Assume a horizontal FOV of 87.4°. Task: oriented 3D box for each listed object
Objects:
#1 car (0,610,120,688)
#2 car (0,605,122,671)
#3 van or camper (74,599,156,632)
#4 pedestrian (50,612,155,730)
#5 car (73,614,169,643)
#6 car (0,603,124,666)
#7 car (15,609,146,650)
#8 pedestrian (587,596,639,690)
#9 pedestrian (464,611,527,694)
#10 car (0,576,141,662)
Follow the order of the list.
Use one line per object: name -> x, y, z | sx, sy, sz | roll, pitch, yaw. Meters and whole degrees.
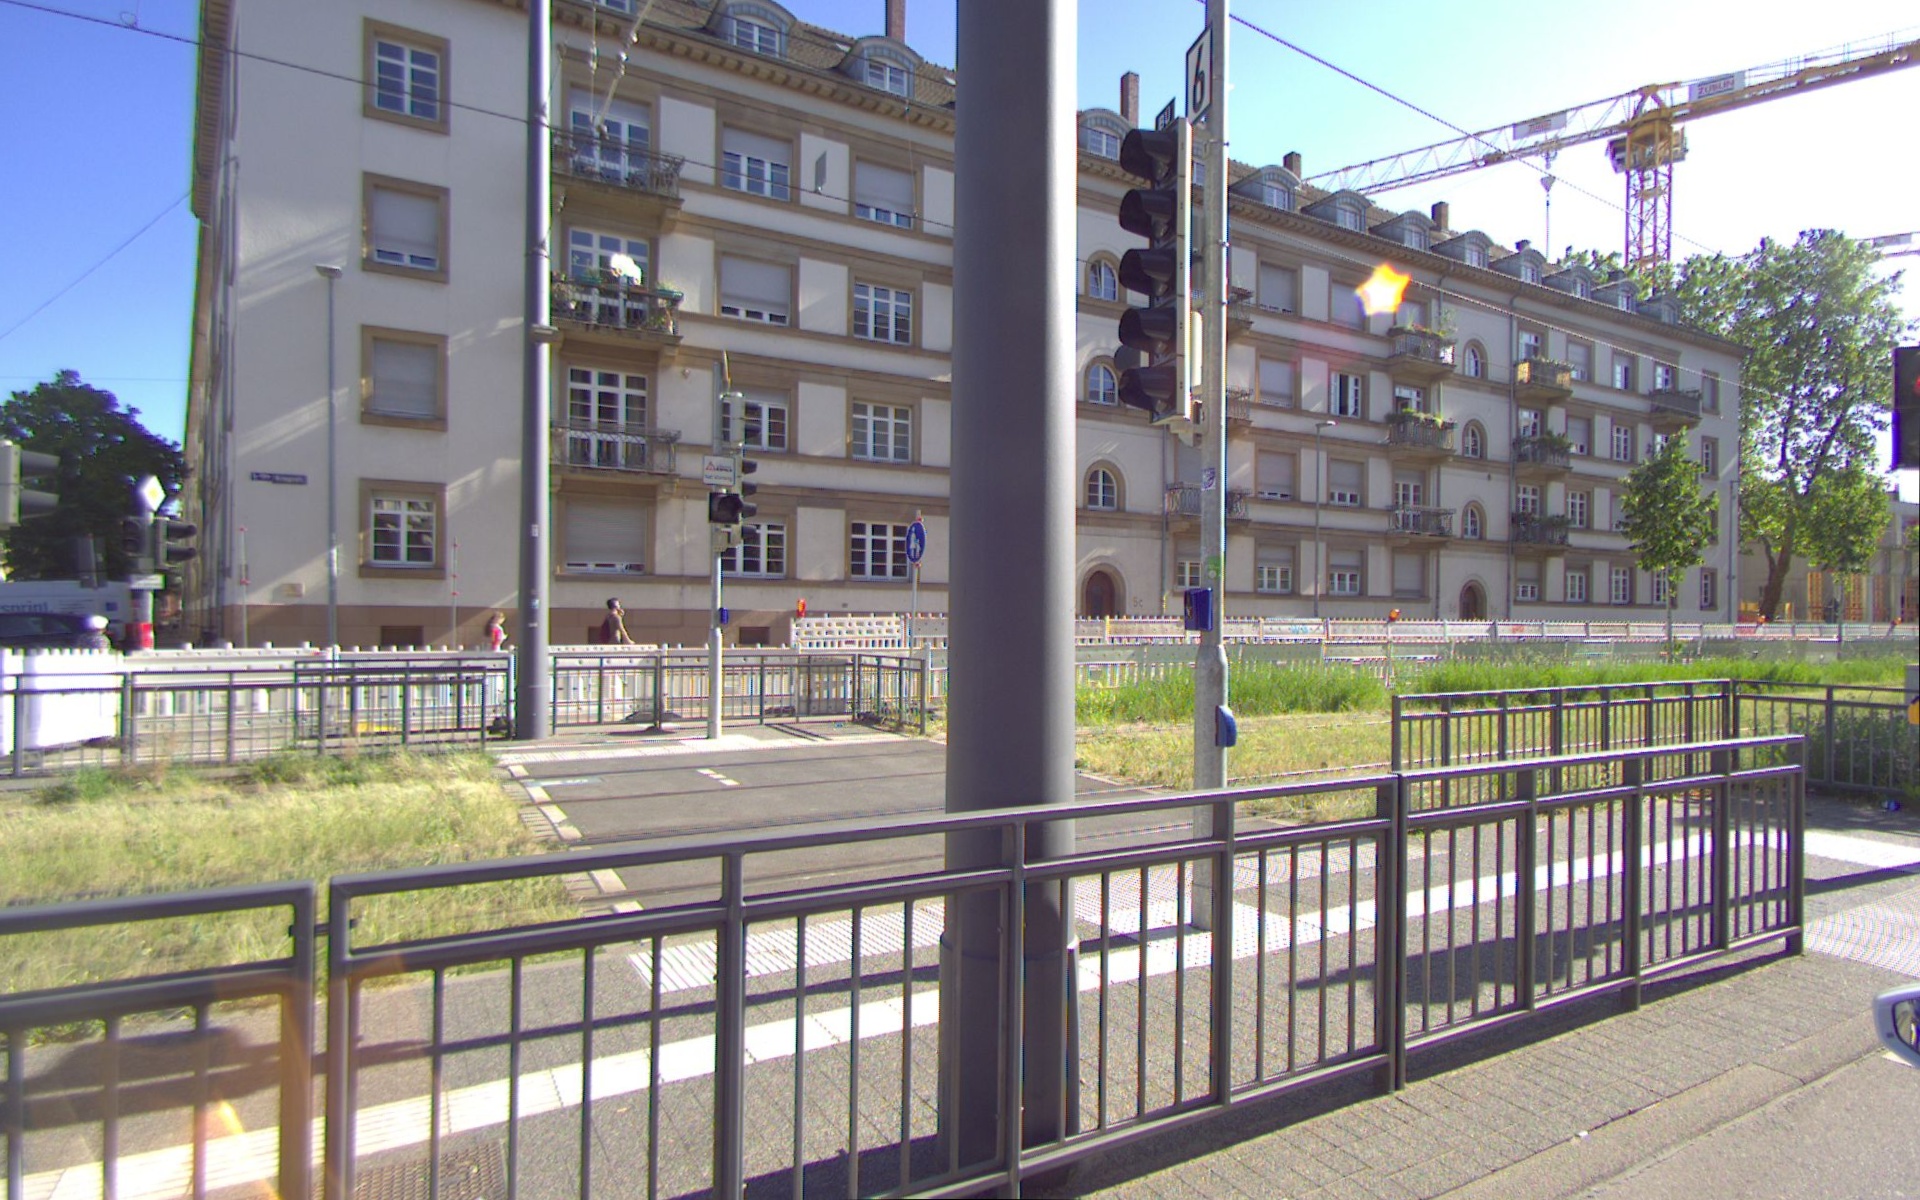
car -> -21.586, 1.070, 22.555 | 3.959, 1.662, 1.851 | 2, 0, -34
car -> -24.920, 0.988, 26.692 | 3.965, 1.662, 1.849 | 2, 0, -38
van or camper -> -59.234, 1.100, 70.483 | 4.311, 2.244, 1.930 | 2, 0, -40
pedestrian -> -11.471, 0.933, 13.466 | 0.697, 1.524, 0.806 | 0, -1, -3
car -> -46.022, 1.572, 55.172 | 3.967, 1.449, 1.758 | 2, 0, -40
car -> -26.299, 0.954, 28.401 | 3.965, 1.662, 1.849 | 2, 0, -38
car -> -36.288, 1.218, 41.594 | 3.965, 1.576, 1.848 | 2, 0, -39
pedestrian -> -7.225, 0.883, 20.907 | 0.861, 1.888, 0.763 | 2, 0, -30
pedestrian -> -9.016, 1.008, 19.503 | 1.009, 1.538, 0.783 | 2, 0, -30
car -> -28.154, 0.544, 29.960 | 5.710, 2.487, 1.977 | 2, 0, -40
